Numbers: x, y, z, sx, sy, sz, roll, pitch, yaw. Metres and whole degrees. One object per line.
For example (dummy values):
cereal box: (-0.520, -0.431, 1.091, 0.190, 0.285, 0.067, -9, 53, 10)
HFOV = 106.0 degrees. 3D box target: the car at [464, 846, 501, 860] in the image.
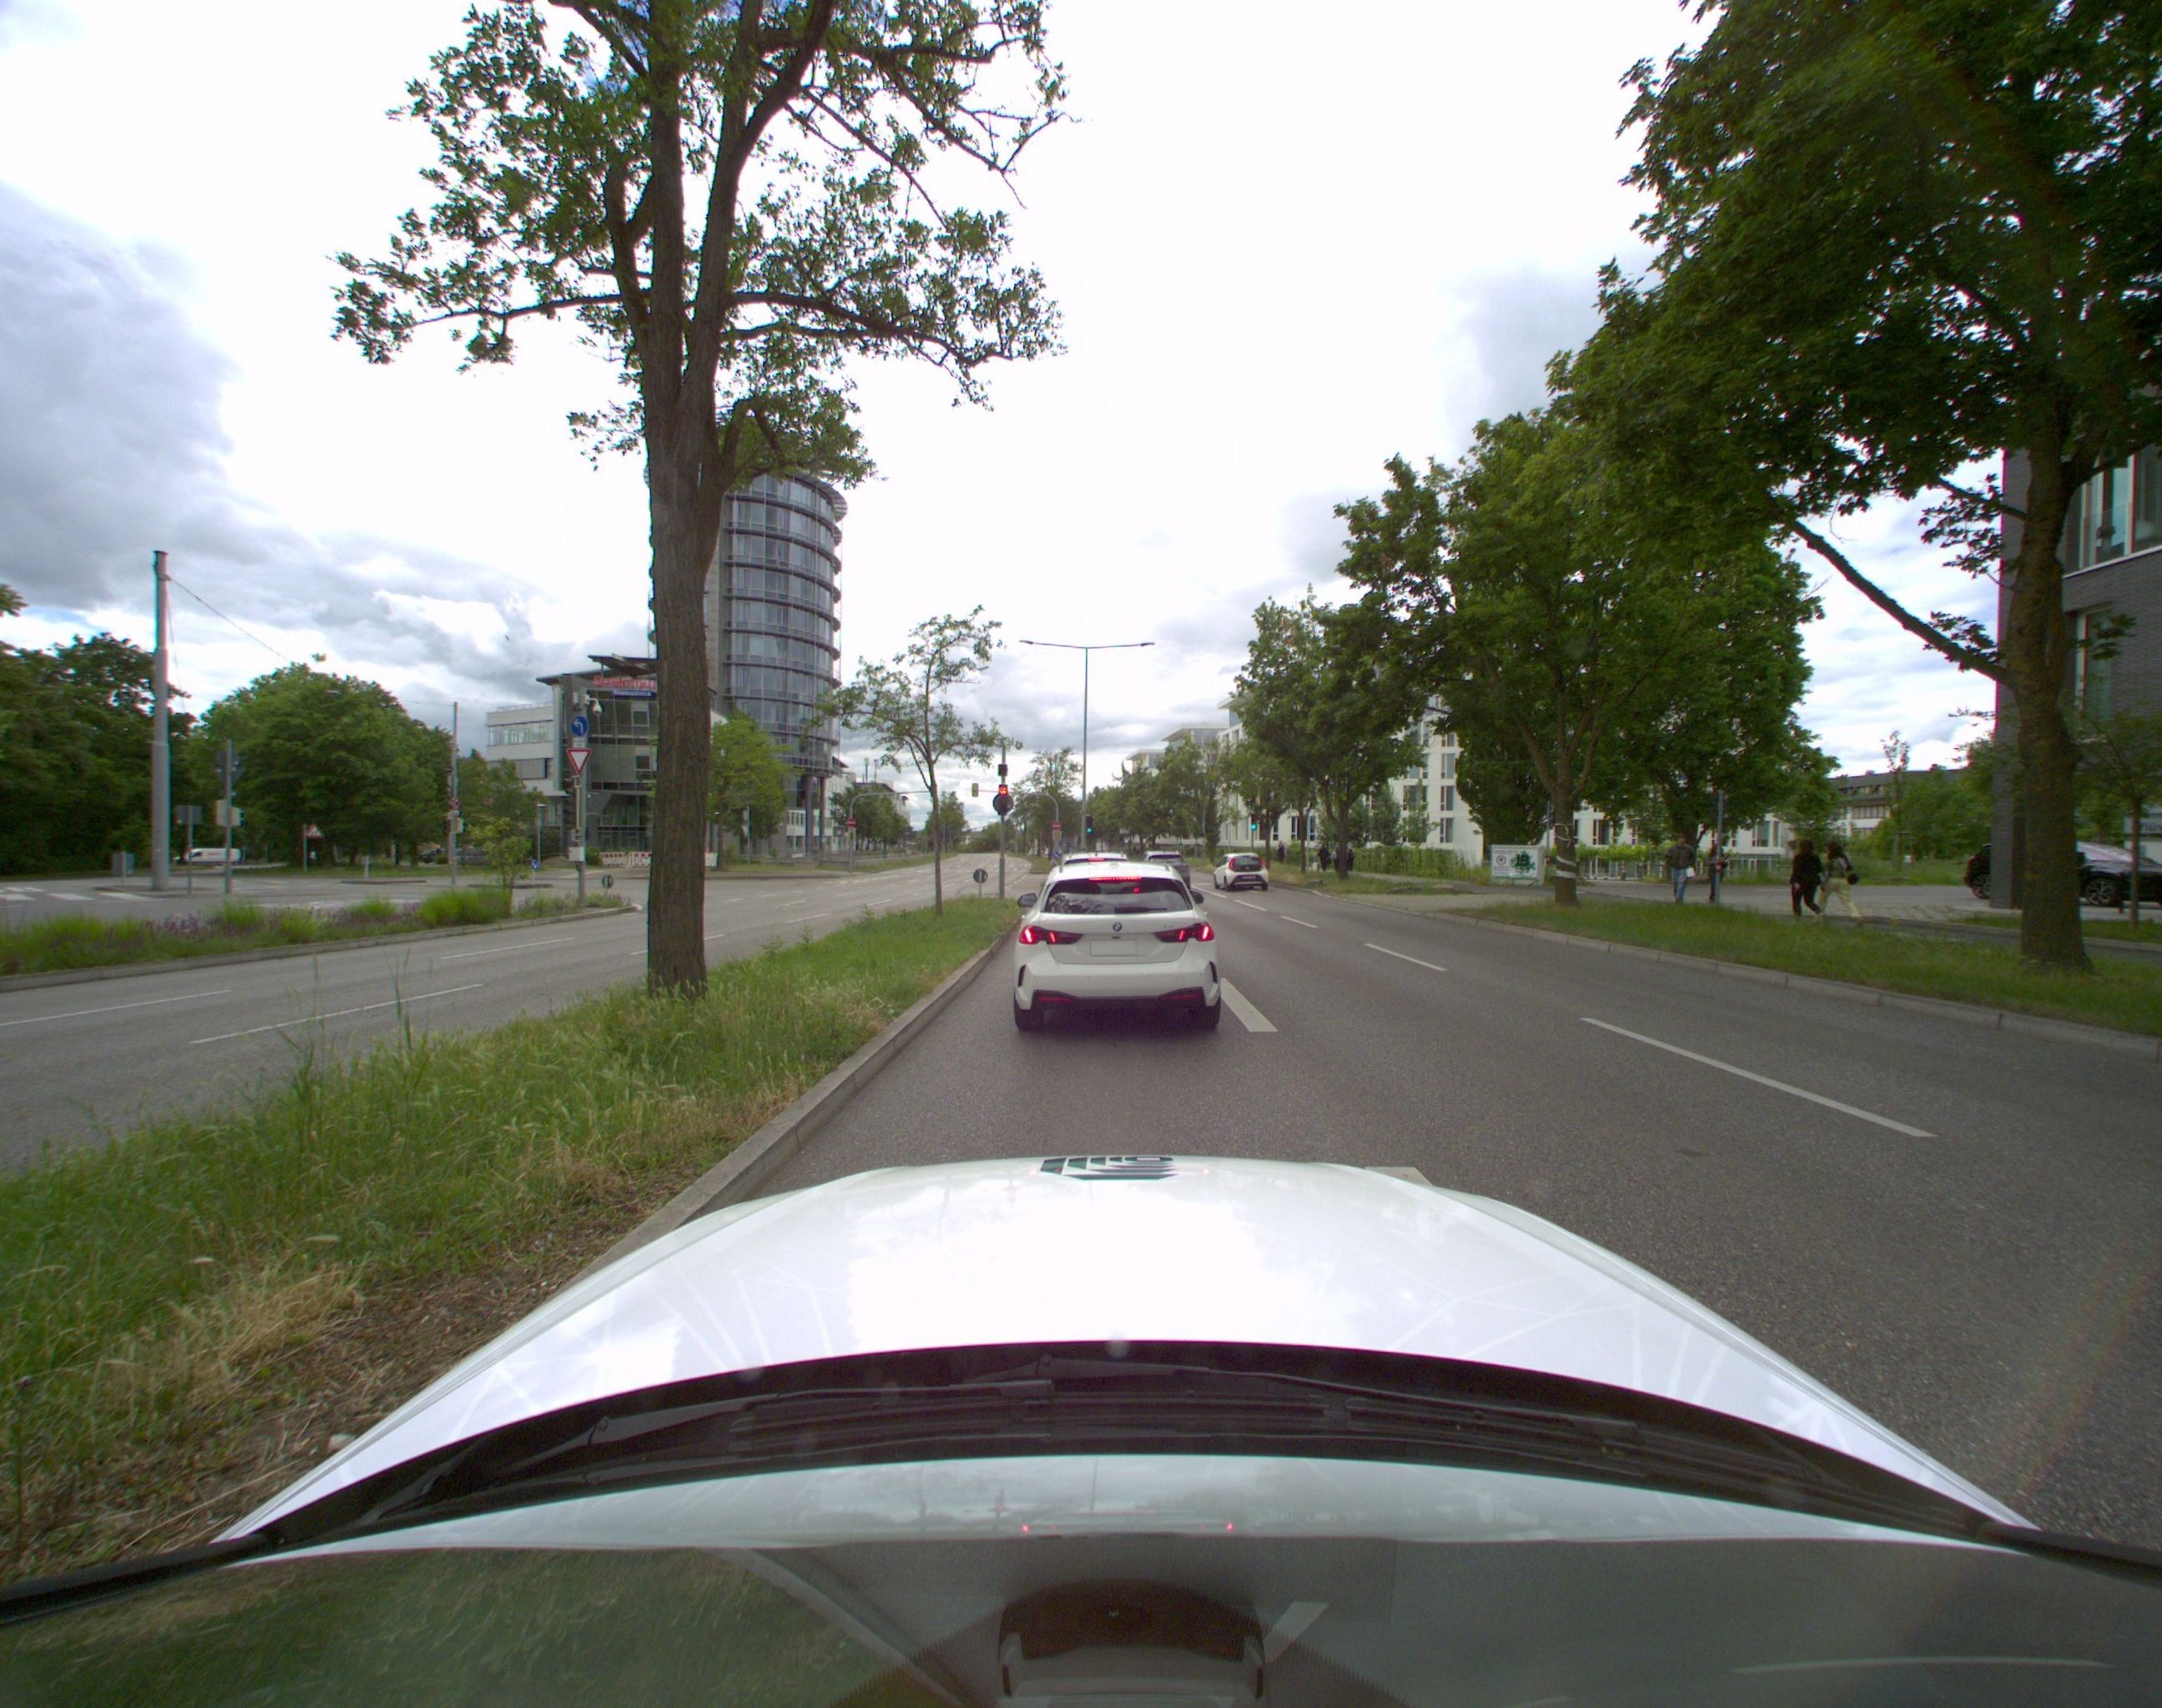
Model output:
car: (-37.359, -0.062, 50.875, 0.766, 0.876, 1.730, 0, 0, 38)

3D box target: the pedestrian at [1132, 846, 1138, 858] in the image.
pedestrian: (9.004, -0.280, 135.574, 0.763, 2.014, 0.751, 0, -1, -13)

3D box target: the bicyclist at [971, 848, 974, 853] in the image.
bicyclist: (-32.593, -1.096, 245.335, 0.809, 1.653, 1.186, 0, -1, -6)

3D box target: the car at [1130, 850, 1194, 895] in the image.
car: (3.015, 0.650, 31.237, 1.886, 1.596, 4.310, 0, 0, -2)

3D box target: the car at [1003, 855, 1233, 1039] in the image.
car: (0.357, 0.740, 8.449, 1.815, 1.438, 4.002, 0, 0, 2)

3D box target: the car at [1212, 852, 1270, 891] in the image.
car: (6.270, 0.649, 32.268, 1.648, 1.425, 3.535, -1, 0, 1)

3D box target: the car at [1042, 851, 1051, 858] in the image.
car: (-7.402, 0.100, 173.927, 1.690, 1.486, 3.685, 0, 0, -6)

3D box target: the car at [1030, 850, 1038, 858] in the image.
car: (-9.971, -0.023, 171.806, 1.692, 1.717, 3.993, 0, -1, -4)

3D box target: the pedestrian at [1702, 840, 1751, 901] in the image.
pedestrian: (16.854, 0.425, 21.274, 0.880, 1.557, 0.825, 0, 0, -38)

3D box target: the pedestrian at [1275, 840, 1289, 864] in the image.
pedestrian: (13.263, -0.141, 53.803, 0.739, 1.574, 0.674, 0, -1, 0)

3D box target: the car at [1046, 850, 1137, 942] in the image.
car: (0.246, 0.712, 15.845, 1.544, 1.569, 4.002, 0, 0, 2)

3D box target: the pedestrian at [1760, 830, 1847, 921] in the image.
pedestrian: (13.764, 0.392, 15.552, 0.791, 1.660, 1.061, 0, 0, 7)

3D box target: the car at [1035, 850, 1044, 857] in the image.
car: (-10.071, -0.123, 198.213, 1.992, 1.732, 3.990, 0, -1, -7)

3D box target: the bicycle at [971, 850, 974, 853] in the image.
bicycle: (-32.587, -0.730, 245.268, 0.809, 1.104, 2.551, 0, -1, -6)

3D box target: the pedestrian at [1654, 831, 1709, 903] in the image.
pedestrian: (16.042, 0.332, 21.760, 0.983, 1.868, 0.952, 0, 0, -38)

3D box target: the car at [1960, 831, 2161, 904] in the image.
car: (24.899, 0.295, 20.226, 1.749, 1.646, 4.151, 0, 0, 2)

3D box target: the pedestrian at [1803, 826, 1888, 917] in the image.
pedestrian: (14.500, 0.319, 15.475, 0.774, 1.660, 0.954, 0, 0, 7)

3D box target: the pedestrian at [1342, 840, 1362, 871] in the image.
pedestrian: (14.829, 0.080, 44.580, 0.764, 1.685, 0.883, 0, -1, 1)

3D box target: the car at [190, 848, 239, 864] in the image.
car: (-128.877, 0.256, 121.175, 1.978, 2.339, 4.570, -1, -1, 16)

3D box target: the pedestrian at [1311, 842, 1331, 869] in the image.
pedestrian: (13.243, 0.095, 45.031, 0.786, 1.448, 1.112, 0, -1, 1)

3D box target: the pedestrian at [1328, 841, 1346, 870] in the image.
pedestrian: (14.028, 0.086, 44.599, 0.697, 1.595, 0.883, 0, -1, 1)

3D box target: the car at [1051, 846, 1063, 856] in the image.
car: (-4.395, -0.511, 147.651, 1.990, 1.670, 3.994, -2, 0, -4)
